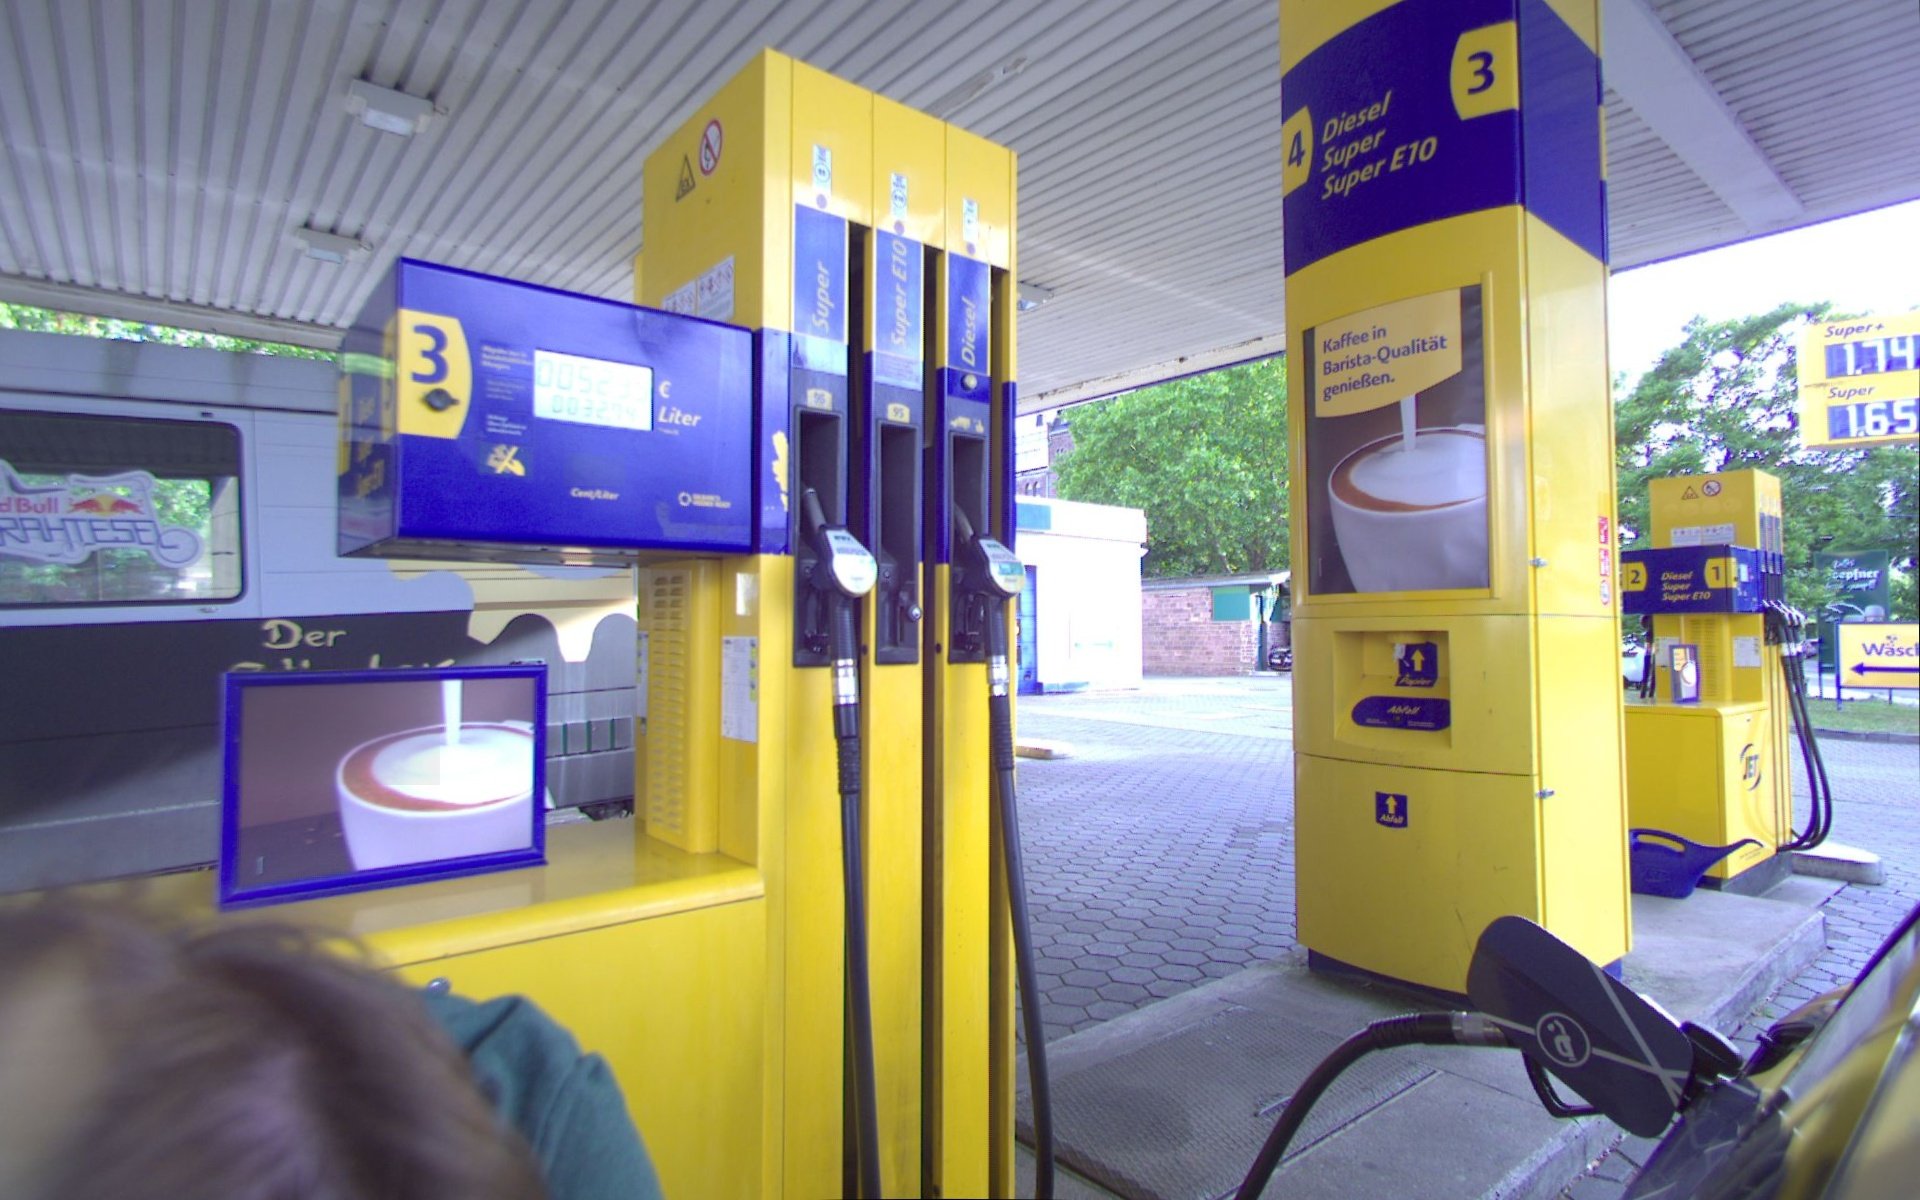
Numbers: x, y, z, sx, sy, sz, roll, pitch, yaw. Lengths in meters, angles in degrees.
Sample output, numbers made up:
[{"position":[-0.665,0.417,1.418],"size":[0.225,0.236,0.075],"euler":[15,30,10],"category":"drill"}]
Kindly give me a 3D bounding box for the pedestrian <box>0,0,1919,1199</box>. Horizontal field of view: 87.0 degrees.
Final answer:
[{"position":[-0.328,0.526,0.568],"size":[0.975,1.750,1.182],"euler":[-2,1,-36],"category":"pedestrian"}]

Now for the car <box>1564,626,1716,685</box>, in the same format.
[{"position":[18.258,1.484,27.136],"size":[4.112,1.478,1.826],"euler":[2,-3,-31],"category":"car"}]

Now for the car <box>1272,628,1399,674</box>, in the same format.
[{"position":[12.646,1.696,34.034],"size":[4.112,1.453,1.826],"euler":[2,-3,-31],"category":"car"}]

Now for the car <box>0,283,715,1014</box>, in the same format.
[{"position":[-4.094,0.192,4.857],"size":[5.248,2.760,2.201],"euler":[0,-1,-39],"category":"car"}]

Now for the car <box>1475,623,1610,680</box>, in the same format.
[{"position":[17.774,1.575,30.853],"size":[4.112,1.606,1.826],"euler":[2,-3,-31],"category":"car"}]

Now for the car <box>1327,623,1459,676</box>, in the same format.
[{"position":[13.785,1.565,32.171],"size":[4.112,1.606,1.826],"euler":[2,-3,-31],"category":"car"}]
